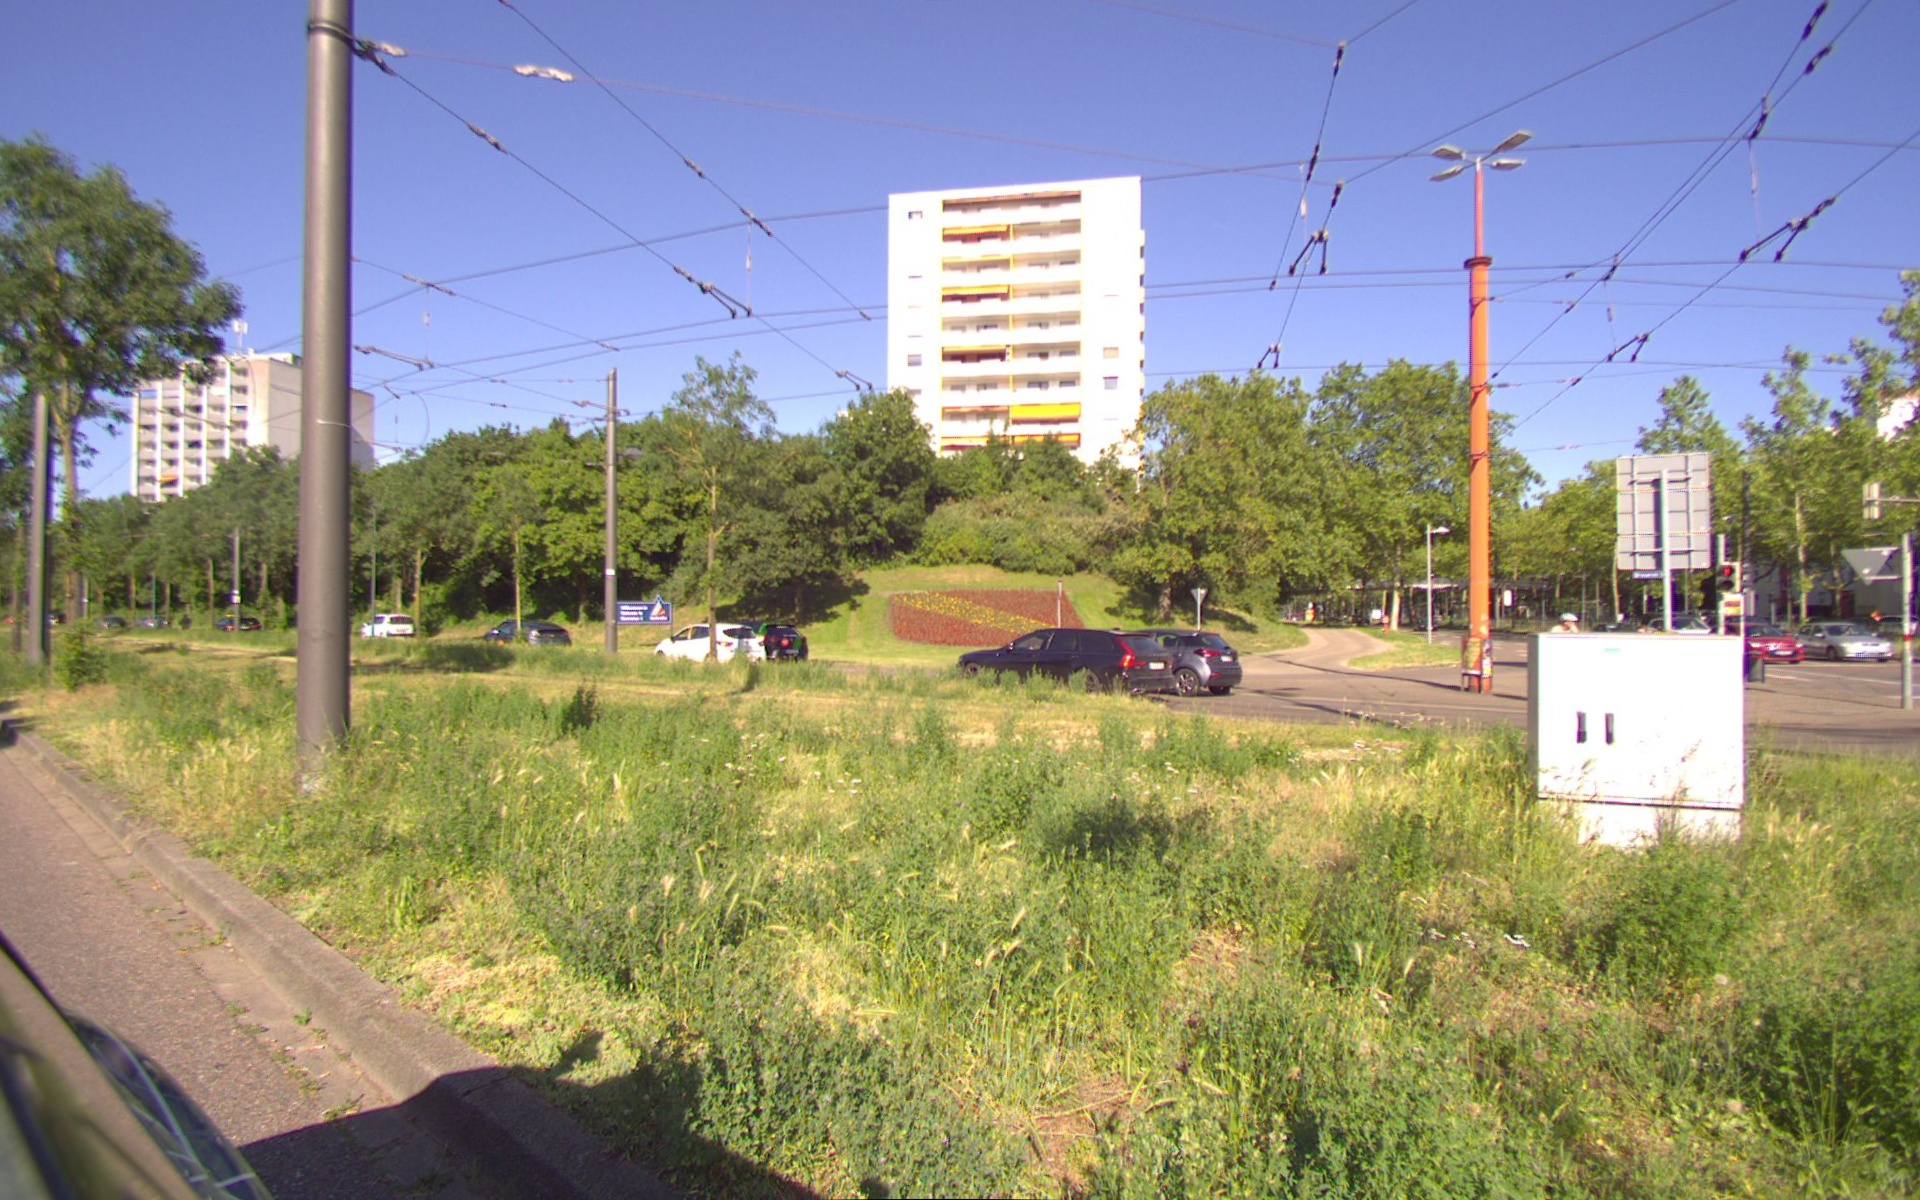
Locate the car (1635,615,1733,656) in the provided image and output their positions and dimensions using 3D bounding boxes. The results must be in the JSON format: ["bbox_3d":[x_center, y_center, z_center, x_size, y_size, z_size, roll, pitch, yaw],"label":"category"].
[{"bbox_3d":[30.555,1.481,42.859,1.810,1.648,4.236,0,-1,12],"label":"car"}]

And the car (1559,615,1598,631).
[{"bbox_3d":[79.777,2.982,130.607,3.969,2.029,1.987,-1,-1,20],"label":"car"}]

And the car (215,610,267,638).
[{"bbox_3d":[-46.344,1.542,65.202,3.998,1.779,1.858,-1,-2,41],"label":"car"}]

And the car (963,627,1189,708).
[{"bbox_3d":[2.232,1.273,20.285,4.310,1.427,1.775,-1,-2,43],"label":"car"}]

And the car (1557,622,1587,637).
[{"bbox_3d":[57.710,2.774,95.498,1.523,1.384,3.370,-1,-1,16],"label":"car"}]

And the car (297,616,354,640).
[{"bbox_3d":[-39.911,1.749,63.610,3.998,1.497,1.972,-1,-2,41],"label":"car"}]

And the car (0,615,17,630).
[{"bbox_3d":[-114.570,2.656,121.098,3.994,1.779,1.860,-1,-2,38],"label":"car"}]

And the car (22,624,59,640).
[{"bbox_3d":[-93.505,3.234,102.902,3.988,1.674,1.889,-1,-2,33],"label":"car"}]

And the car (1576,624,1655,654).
[{"bbox_3d":[31.989,1.880,49.538,1.747,1.360,4.346,-1,-1,12],"label":"car"}]

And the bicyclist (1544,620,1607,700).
[{"bbox_3d":[12.235,1.180,20.133,0.719,1.557,0.770,0,-2,-20],"label":"bicyclist"}]

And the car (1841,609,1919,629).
[{"bbox_3d":[65.879,1.369,72.383,1.770,1.420,4.010,1,-1,-36],"label":"car"}]

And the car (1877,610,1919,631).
[{"bbox_3d":[64.891,1.391,68.401,1.770,1.420,4.010,1,-1,-36],"label":"car"}]

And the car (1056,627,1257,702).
[{"bbox_3d":[4.385,1.379,23.010,1.767,1.519,4.243,1,-2,-45],"label":"car"}]

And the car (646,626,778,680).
[{"bbox_3d":[-7.232,1.491,29.346,4.000,1.429,1.842,-1,-2,43],"label":"car"}]

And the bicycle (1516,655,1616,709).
[{"bbox_3d":[12.102,1.616,20.278,0.673,0.968,1.650,0,-1,-21],"label":"bicycle"}]

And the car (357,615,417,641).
[{"bbox_3d":[-32.282,1.566,56.990,4.000,1.409,1.822,-1,-2,43],"label":"car"}]

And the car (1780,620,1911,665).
[{"bbox_3d":[32.212,1.521,36.996,1.840,1.557,4.242,-1,-1,15],"label":"car"}]

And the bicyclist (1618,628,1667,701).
[{"bbox_3d":[13.327,1.242,19.777,0.435,1.391,0.631,0,-2,-20],"label":"bicyclist"}]

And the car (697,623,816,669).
[{"bbox_3d":[-6.798,1.480,33.659,3.998,1.429,1.843,-1,-2,41],"label":"car"}]

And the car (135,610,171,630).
[{"bbox_3d":[-71.970,1.791,90.237,3.998,1.779,1.858,-1,-2,41],"label":"car"}]

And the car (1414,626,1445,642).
[{"bbox_3d":[45.747,3.300,98.670,1.747,1.360,4.347,-1,-1,11],"label":"car"}]

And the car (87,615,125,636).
[{"bbox_3d":[-72.372,2.146,85.768,3.998,1.779,1.858,-1,-2,41],"label":"car"}]

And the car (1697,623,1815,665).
[{"bbox_3d":[28.723,1.553,36.666,1.668,1.446,4.049,0,-1,12],"label":"car"}]

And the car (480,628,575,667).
[{"bbox_3d":[-16.566,1.765,38.652,4.229,1.371,1.801,-1,-2,43],"label":"car"}]

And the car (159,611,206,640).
[{"bbox_3d":[-57.115,1.858,74.313,3.998,2.029,1.973,-1,-2,41],"label":"car"}]
